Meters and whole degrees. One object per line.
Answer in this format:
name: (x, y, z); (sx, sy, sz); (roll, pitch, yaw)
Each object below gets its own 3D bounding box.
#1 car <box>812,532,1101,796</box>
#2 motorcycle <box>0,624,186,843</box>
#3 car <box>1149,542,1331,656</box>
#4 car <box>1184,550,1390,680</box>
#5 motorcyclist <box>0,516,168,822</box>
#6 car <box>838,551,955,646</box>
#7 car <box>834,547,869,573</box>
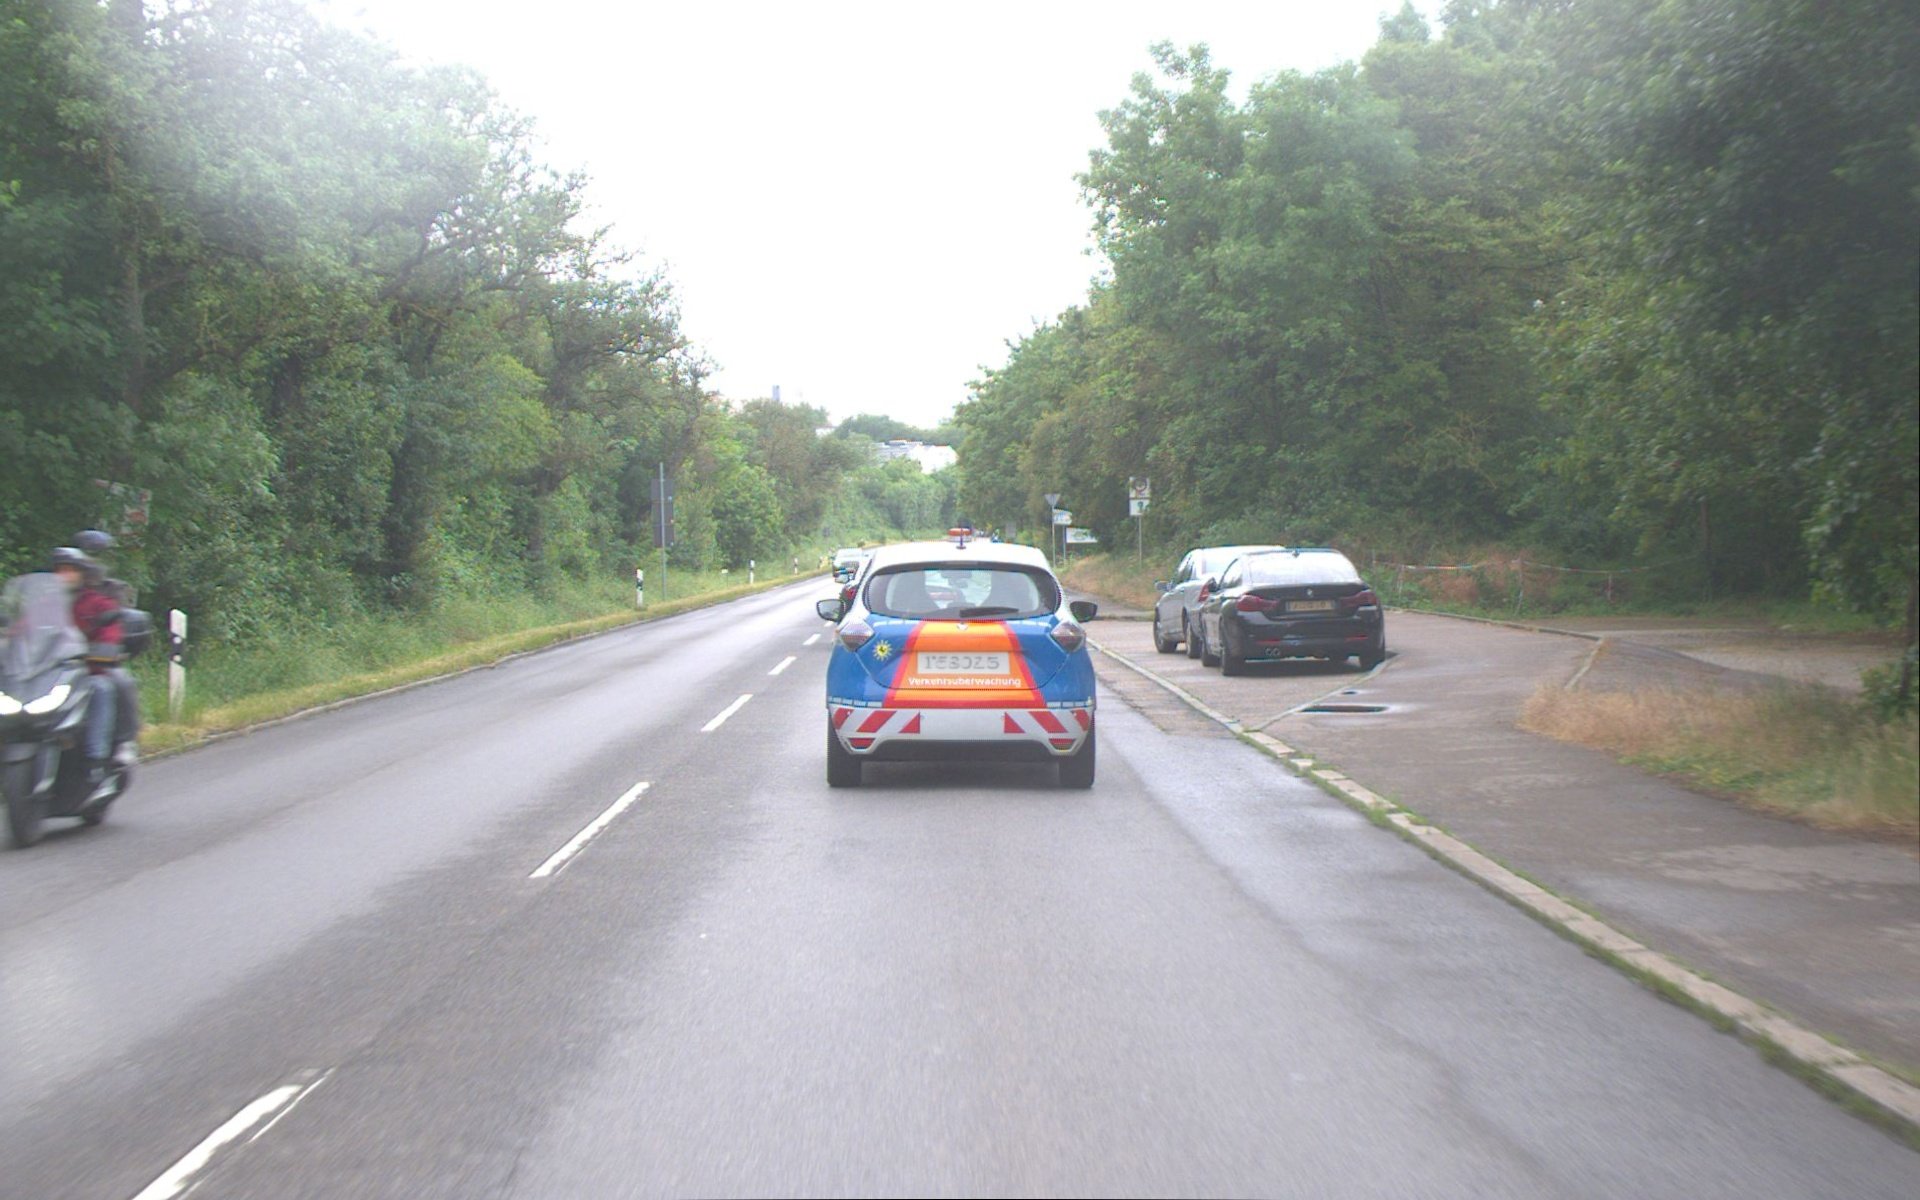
car: (-0.042, 0.358, 22.943); (1.752, 1.550, 3.793); (1, 2, -1)
motorcycle: (-5.136, 0.733, 19.790); (0.868, 1.122, 2.395); (-1, 1, -1)
car: (3.687, -0.045, 45.867); (1.993, 1.436, 4.068); (0, 1, -2)
car: (3.715, 0.135, 39.691); (1.993, 1.371, 4.000); (-1, 1, 0)
motorcyclist: (-5.142, 0.382, 19.921); (0.868, 1.717, 1.036); (-1, 1, -1)
car: (-0.888, -0.044, 49.875); (1.598, 1.282, 3.476); (-1, 1, 0)
car: (-5.835, -2.143, 184.420); (1.884, 1.382, 4.000); (0, 1, -2)
